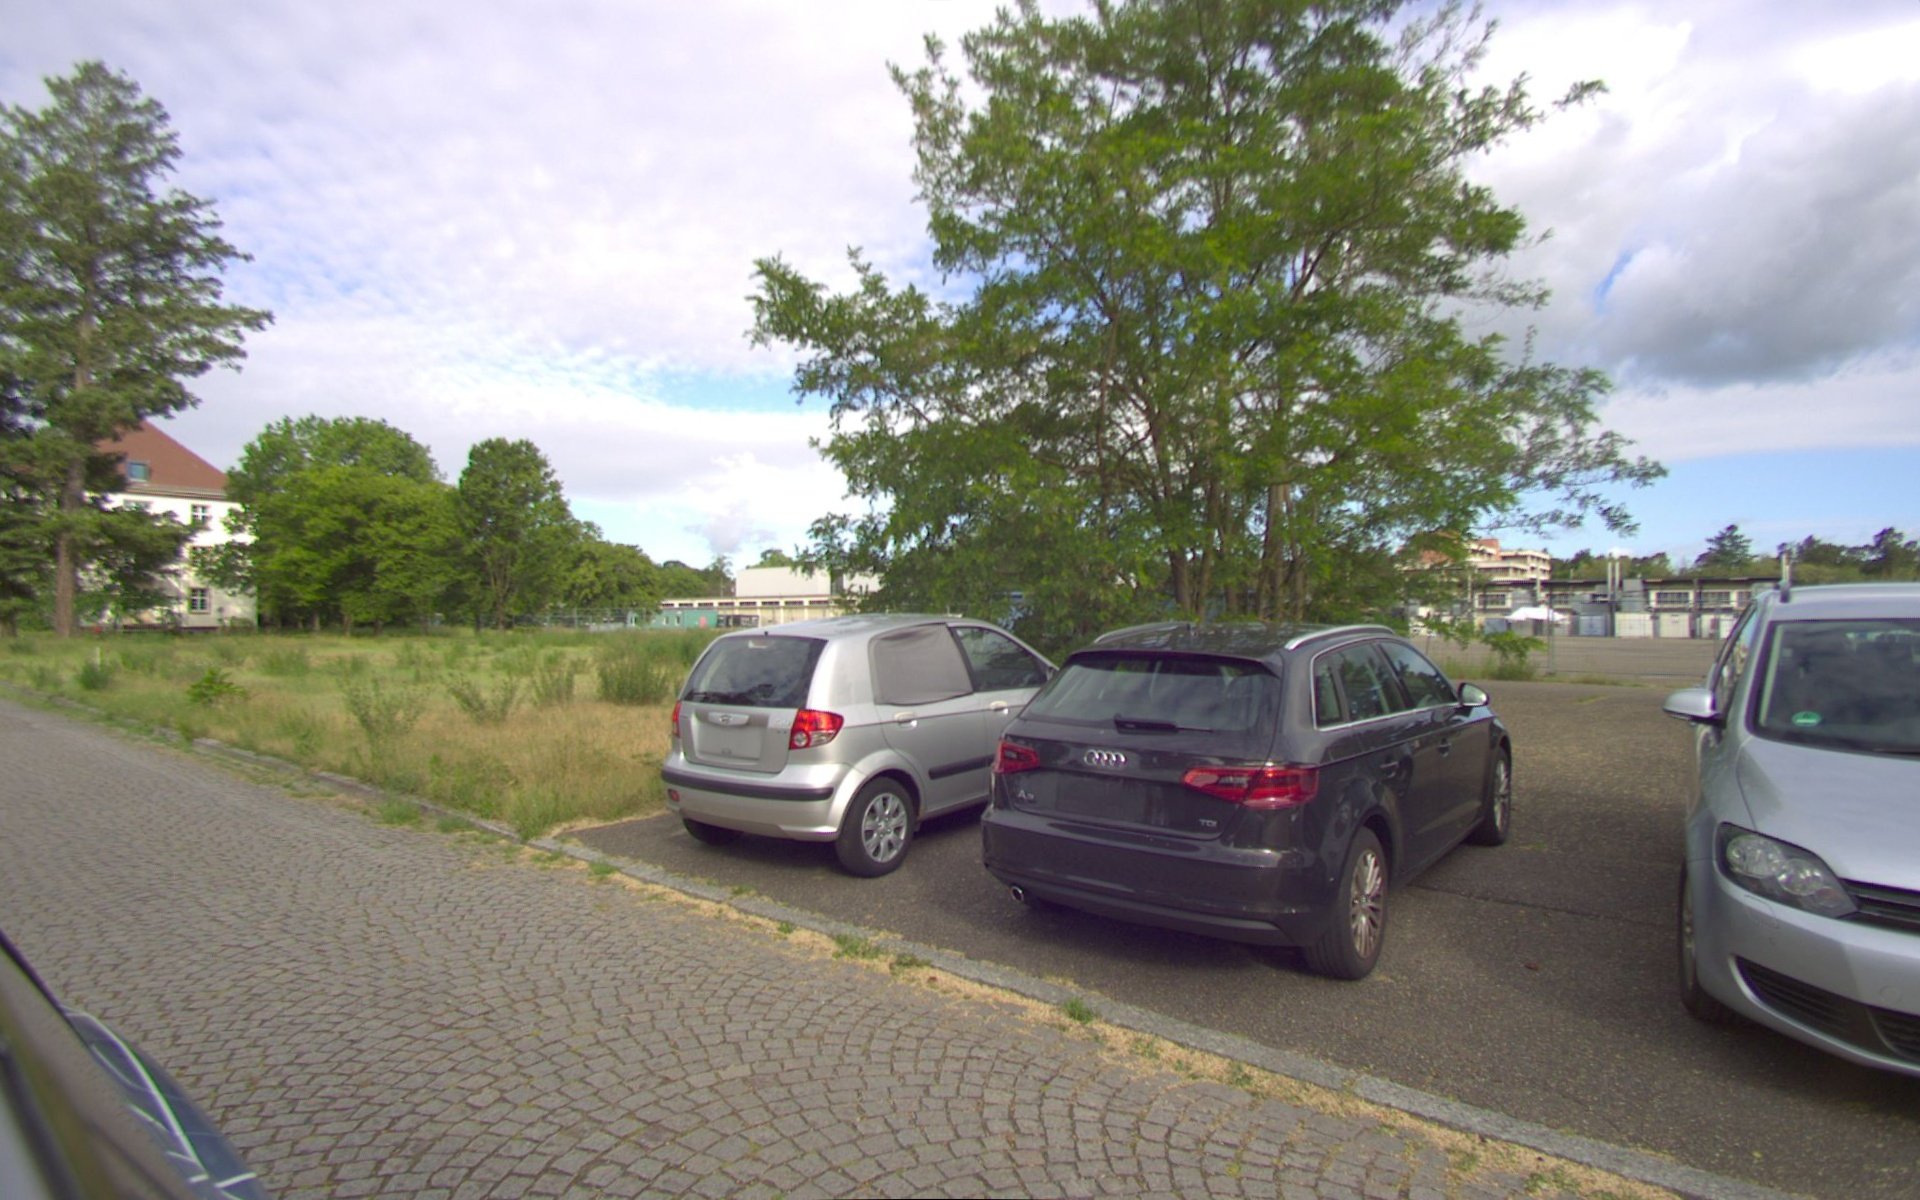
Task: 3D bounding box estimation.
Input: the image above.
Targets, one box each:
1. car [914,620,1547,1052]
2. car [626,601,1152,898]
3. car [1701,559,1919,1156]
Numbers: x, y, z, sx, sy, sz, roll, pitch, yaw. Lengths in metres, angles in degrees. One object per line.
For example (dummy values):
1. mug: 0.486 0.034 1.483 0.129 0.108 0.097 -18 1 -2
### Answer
1. car: 1.925 0.850 5.780 1.882 1.433 4.576 -1 -2 38
2. car: -0.227 0.790 7.352 1.677 1.467 3.939 -1 0 36
3. car: 4.252 0.667 4.221 1.844 1.602 4.433 -1 0 36
